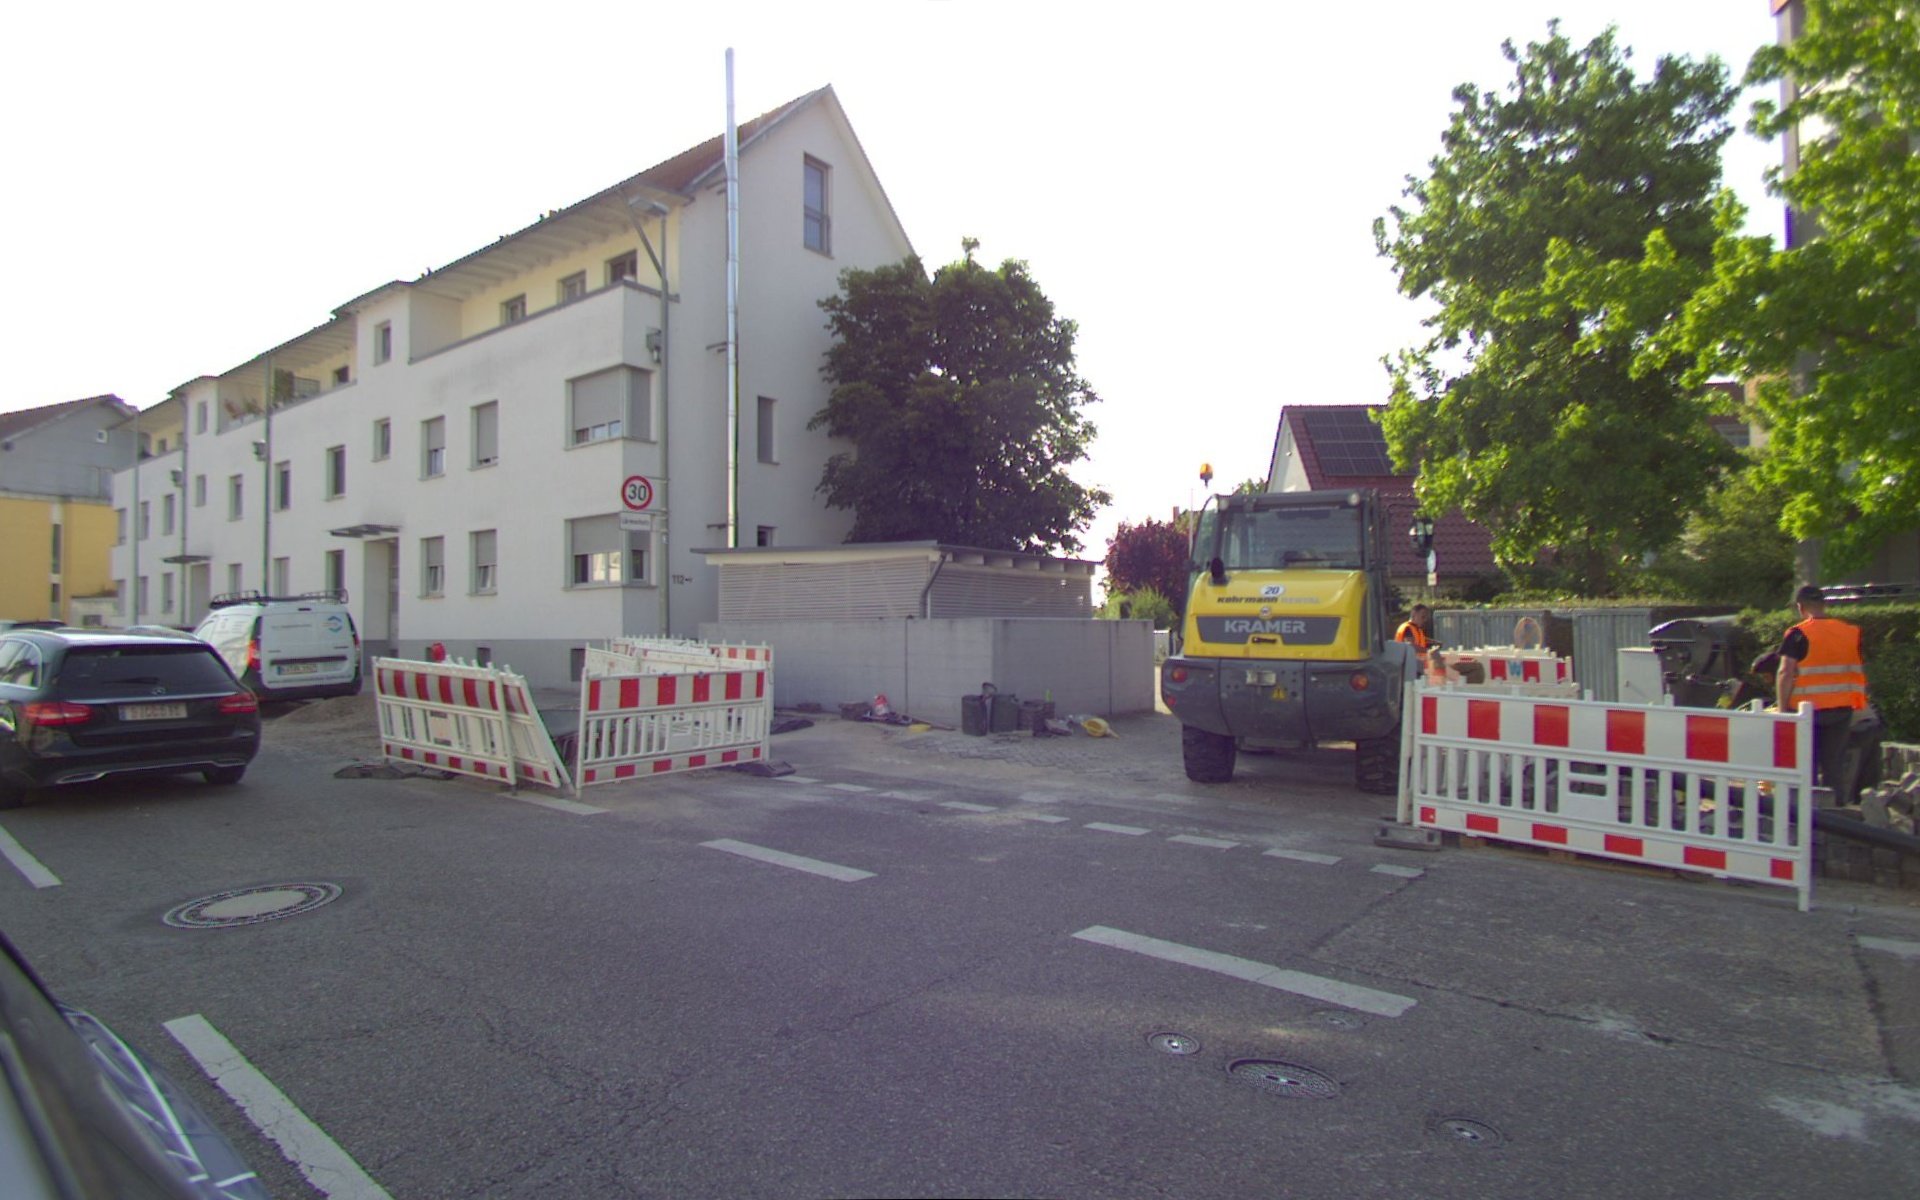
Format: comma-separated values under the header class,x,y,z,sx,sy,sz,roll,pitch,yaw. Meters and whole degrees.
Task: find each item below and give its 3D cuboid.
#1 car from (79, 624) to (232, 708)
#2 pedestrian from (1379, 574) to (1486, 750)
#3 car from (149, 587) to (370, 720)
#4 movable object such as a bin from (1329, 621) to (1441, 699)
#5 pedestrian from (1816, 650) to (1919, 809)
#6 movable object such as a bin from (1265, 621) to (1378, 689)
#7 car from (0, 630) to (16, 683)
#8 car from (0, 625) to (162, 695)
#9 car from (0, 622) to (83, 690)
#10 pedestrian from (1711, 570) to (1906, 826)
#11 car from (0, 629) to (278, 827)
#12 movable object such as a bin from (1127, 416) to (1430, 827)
class,x,y,z,sx,sy,sz,roll,pitch,yaw
car,-15.788,1.251,19.827,3.507,1.476,1.479,-2,-1,36
pedestrian,5.715,0.726,12.259,0.755,2.034,0.895,0,-2,-37
car,-11.890,0.867,17.084,4.429,1.975,1.712,-2,-2,36
movable object such as a bin,8.393,1.164,20.072,1.601,1.458,1.322,0,0,-3
pedestrian,6.791,0.938,7.542,0.596,1.108,0.494,-2,-1,41
movable object such as a bin,8.055,1.213,22.657,1.970,1.430,1.417,0,0,-3
car,-29.462,1.673,29.550,4.488,1.489,1.714,-2,-1,32
car,-20.490,1.357,23.547,4.249,1.489,1.714,-2,-2,32
car,-25.174,1.451,26.935,4.251,1.634,1.713,-2,-1,33
pedestrian,6.024,0.655,7.219,0.993,1.677,0.661,-2,-1,41
car,-8.120,0.994,9.272,4.201,1.431,1.813,-2,-3,37
movable object such as a bin,3.489,0.207,10.148,2.100,2.923,5.467,-2,-1,25
